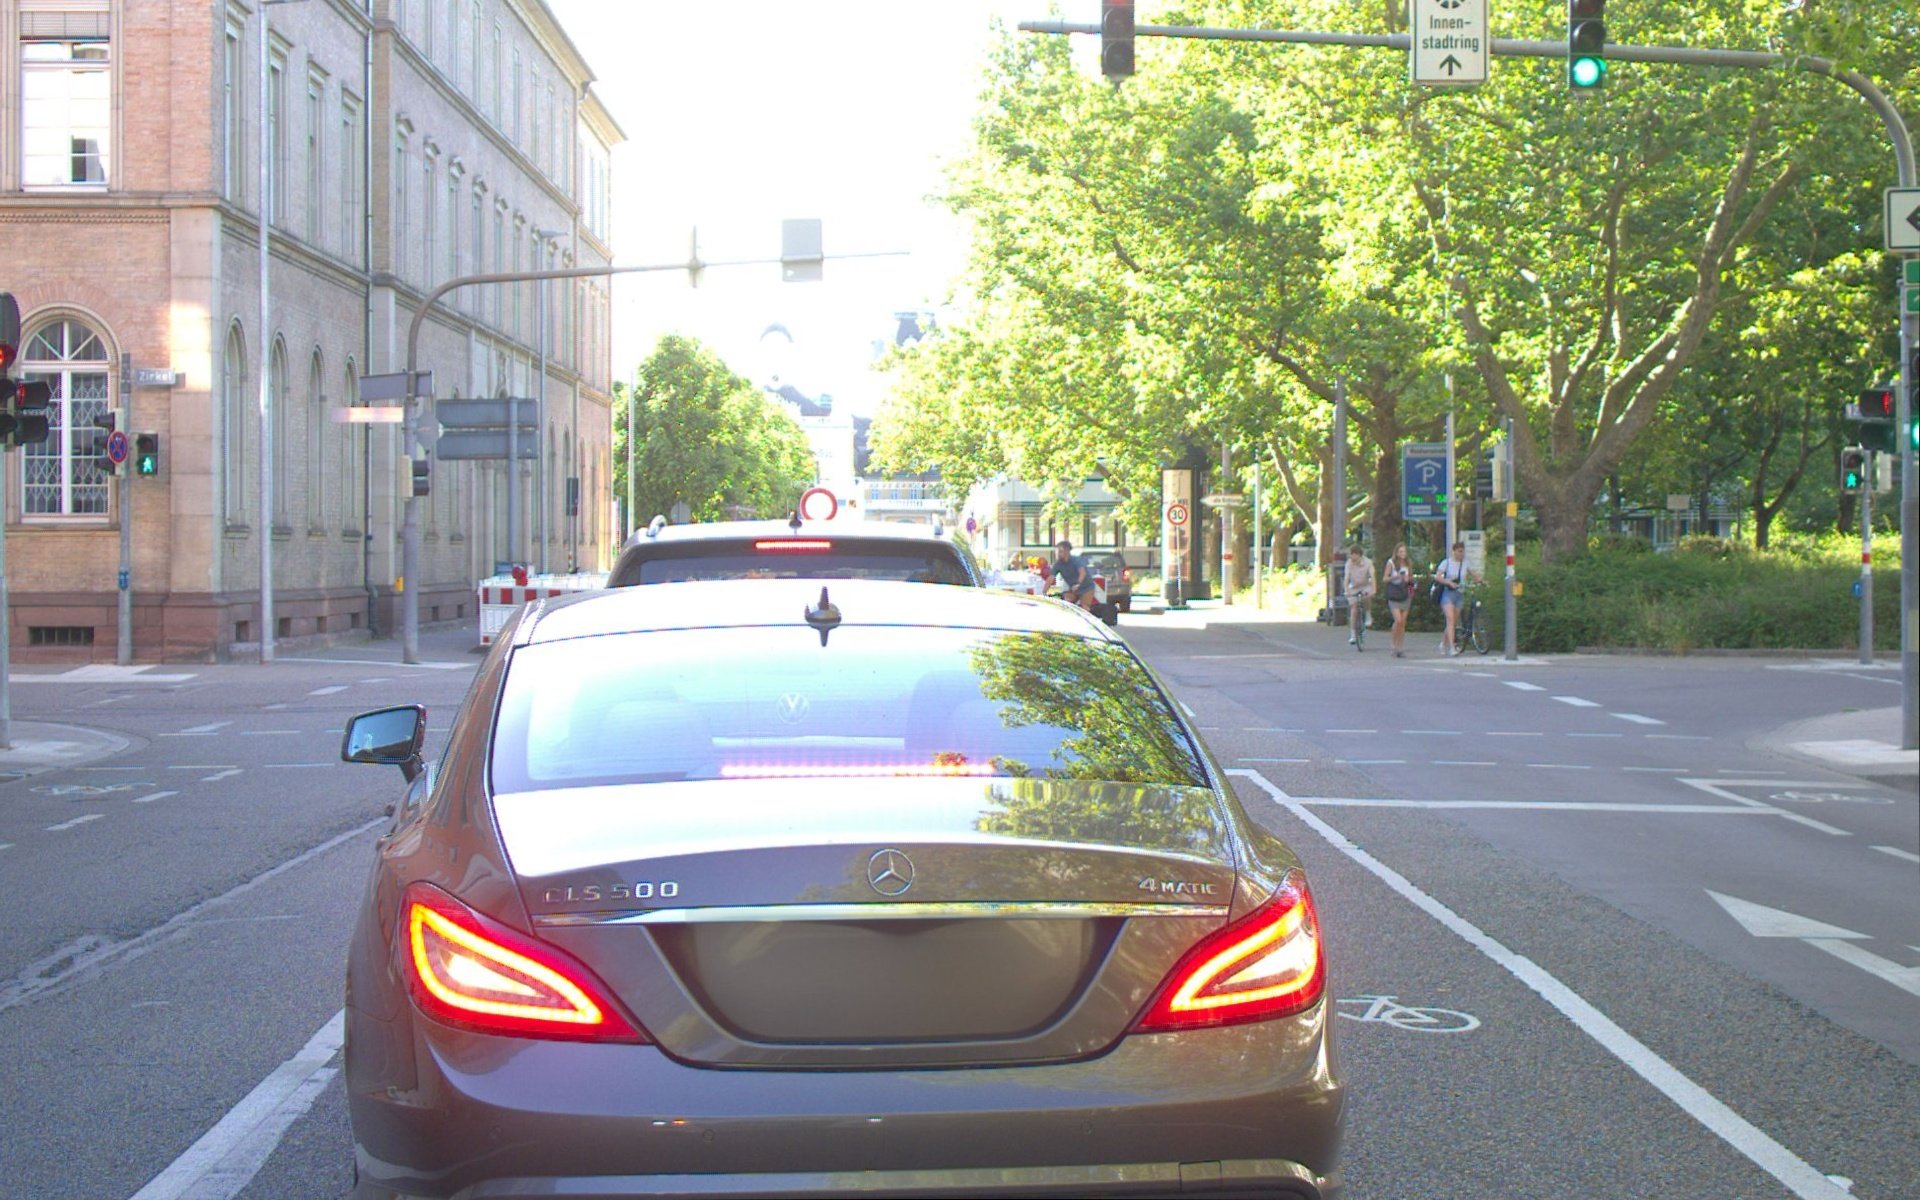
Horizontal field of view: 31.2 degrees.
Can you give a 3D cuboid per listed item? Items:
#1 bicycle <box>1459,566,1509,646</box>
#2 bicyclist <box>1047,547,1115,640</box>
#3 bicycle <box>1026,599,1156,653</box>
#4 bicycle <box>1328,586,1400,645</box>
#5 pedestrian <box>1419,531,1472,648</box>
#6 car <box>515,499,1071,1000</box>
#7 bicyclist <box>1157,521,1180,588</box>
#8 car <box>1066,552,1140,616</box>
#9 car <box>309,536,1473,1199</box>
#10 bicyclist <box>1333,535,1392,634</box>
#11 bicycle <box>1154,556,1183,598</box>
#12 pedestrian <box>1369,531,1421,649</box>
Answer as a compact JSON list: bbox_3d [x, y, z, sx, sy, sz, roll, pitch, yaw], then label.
[{"bbox_3d":[7.965,0.080,52.279,0.482,1.198,1.606,1,0,-1],"label":"bicycle"},{"bbox_3d":[1.825,-0.097,51.810,0.696,1.393,0.735,0,1,-37],"label":"bicyclist"},{"bbox_3d":[1.987,0.391,51.950,1.922,0.788,0.725,0,1,-37],"label":"bicycle"},{"bbox_3d":[6.643,0.242,56.625,0.828,0.921,2.617,1,1,-1],"label":"bicycle"},{"bbox_3d":[7.373,-0.164,52.204,0.635,1.754,0.699,1,0,-4],"label":"pedestrian"},{"bbox_3d":[-0.587,0.472,13.598,1.861,1.677,4.000,0,1,-1],"label":"car"},{"bbox_3d":[6.368,-1.390,104.922,0.594,2.032,0.566,1,0,-4],"label":"bicyclist"},{"bbox_3d":[4.052,-0.479,98.113,1.861,1.758,4.482,0,1,-1],"label":"car"},{"bbox_3d":[-0.366,0.627,7.468,1.861,1.514,4.001,0,1,-8],"label":"car"},{"bbox_3d":[6.629,-0.259,56.633,0.825,1.612,0.957,1,0,-1],"label":"bicyclist"},{"bbox_3d":[6.365,-0.708,104.940,0.591,1.259,1.806,1,1,-5],"label":"bicycle"},{"bbox_3d":[6.624,-0.154,52.365,0.635,1.791,0.699,1,0,-4],"label":"pedestrian"}]
